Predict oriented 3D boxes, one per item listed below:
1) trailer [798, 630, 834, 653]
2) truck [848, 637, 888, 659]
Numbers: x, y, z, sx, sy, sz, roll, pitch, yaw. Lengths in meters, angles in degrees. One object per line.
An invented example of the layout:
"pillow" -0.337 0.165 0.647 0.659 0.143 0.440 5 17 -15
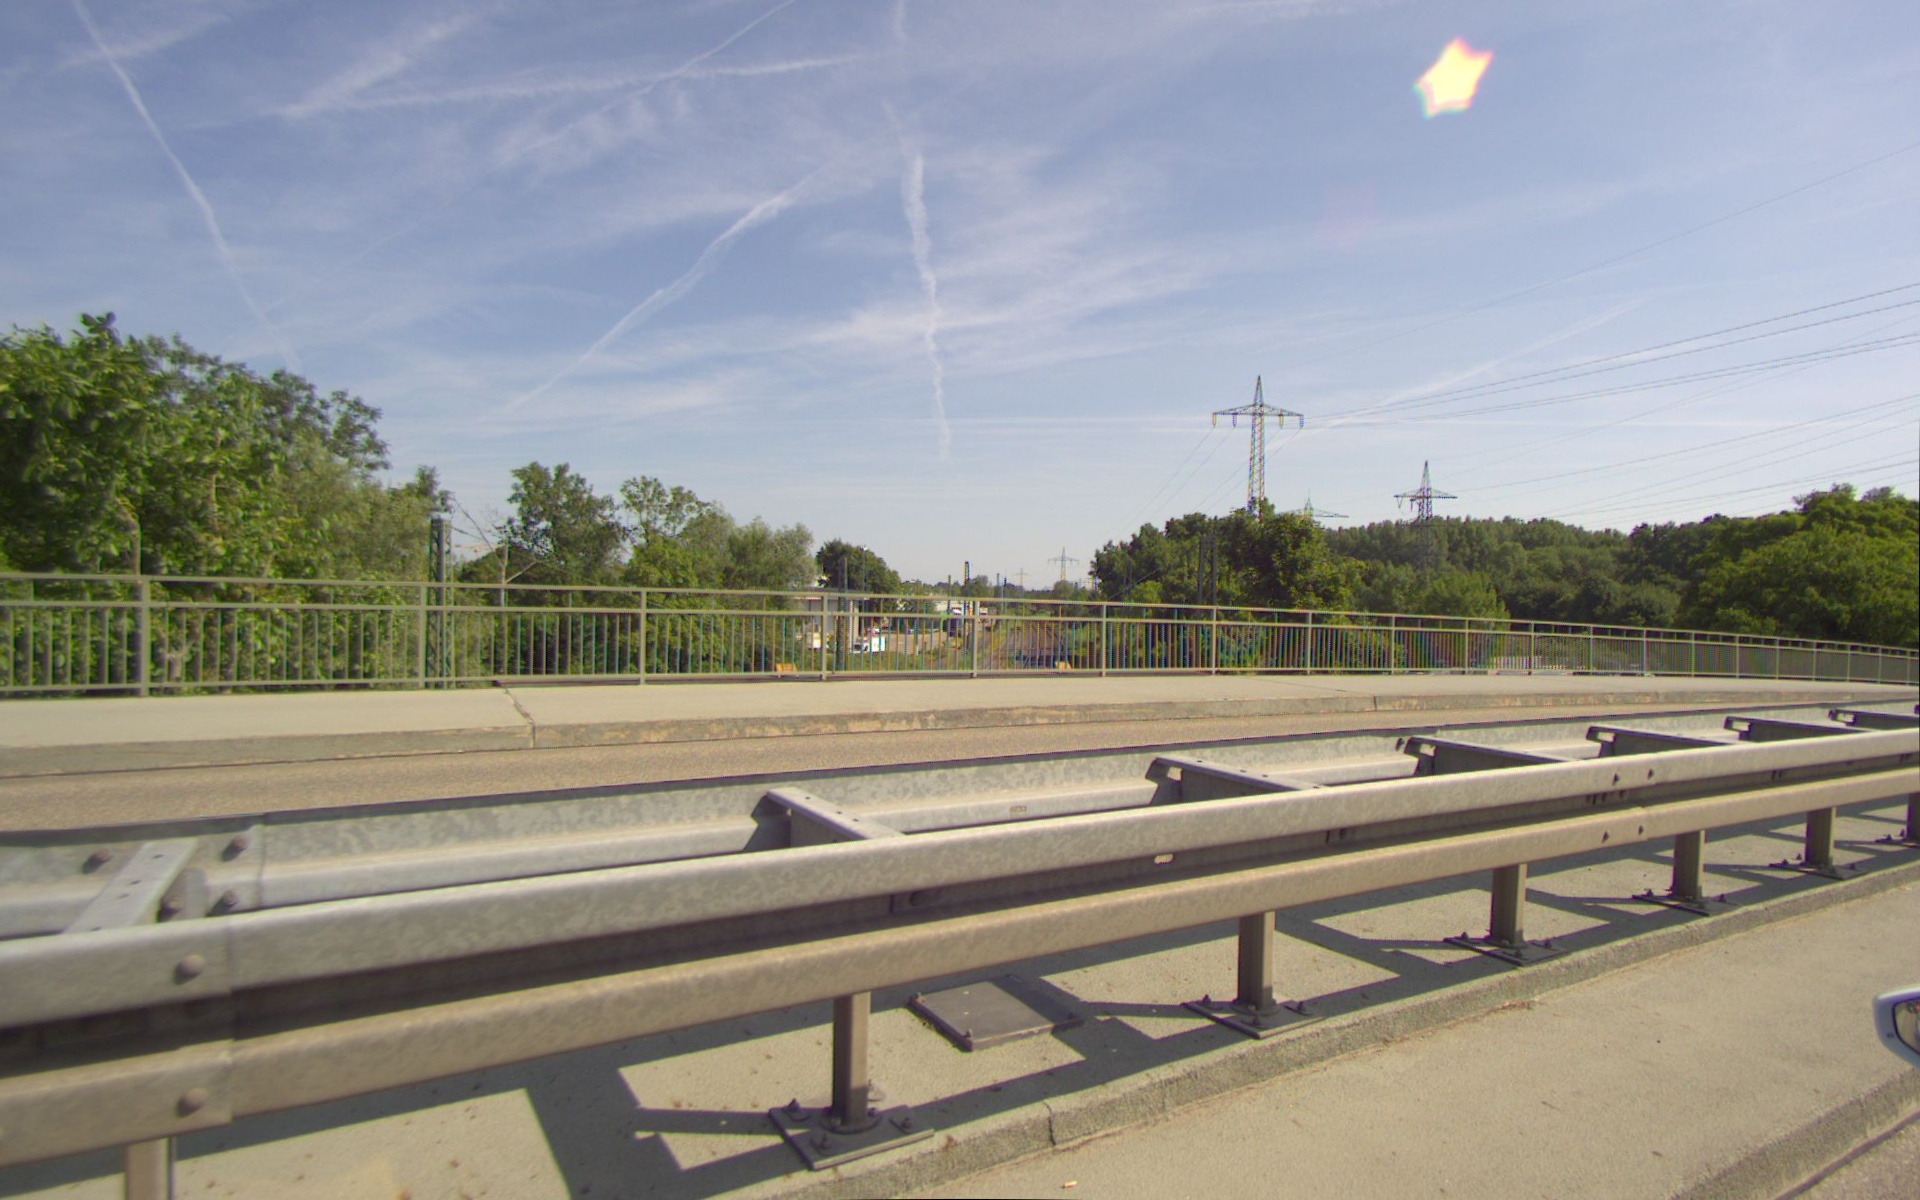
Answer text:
"trailer" -19.442 5.521 135.325 2.585 2.848 6.726 1 0 -29
"truck" -11.377 5.944 124.287 2.255 2.432 5.600 1 0 27
